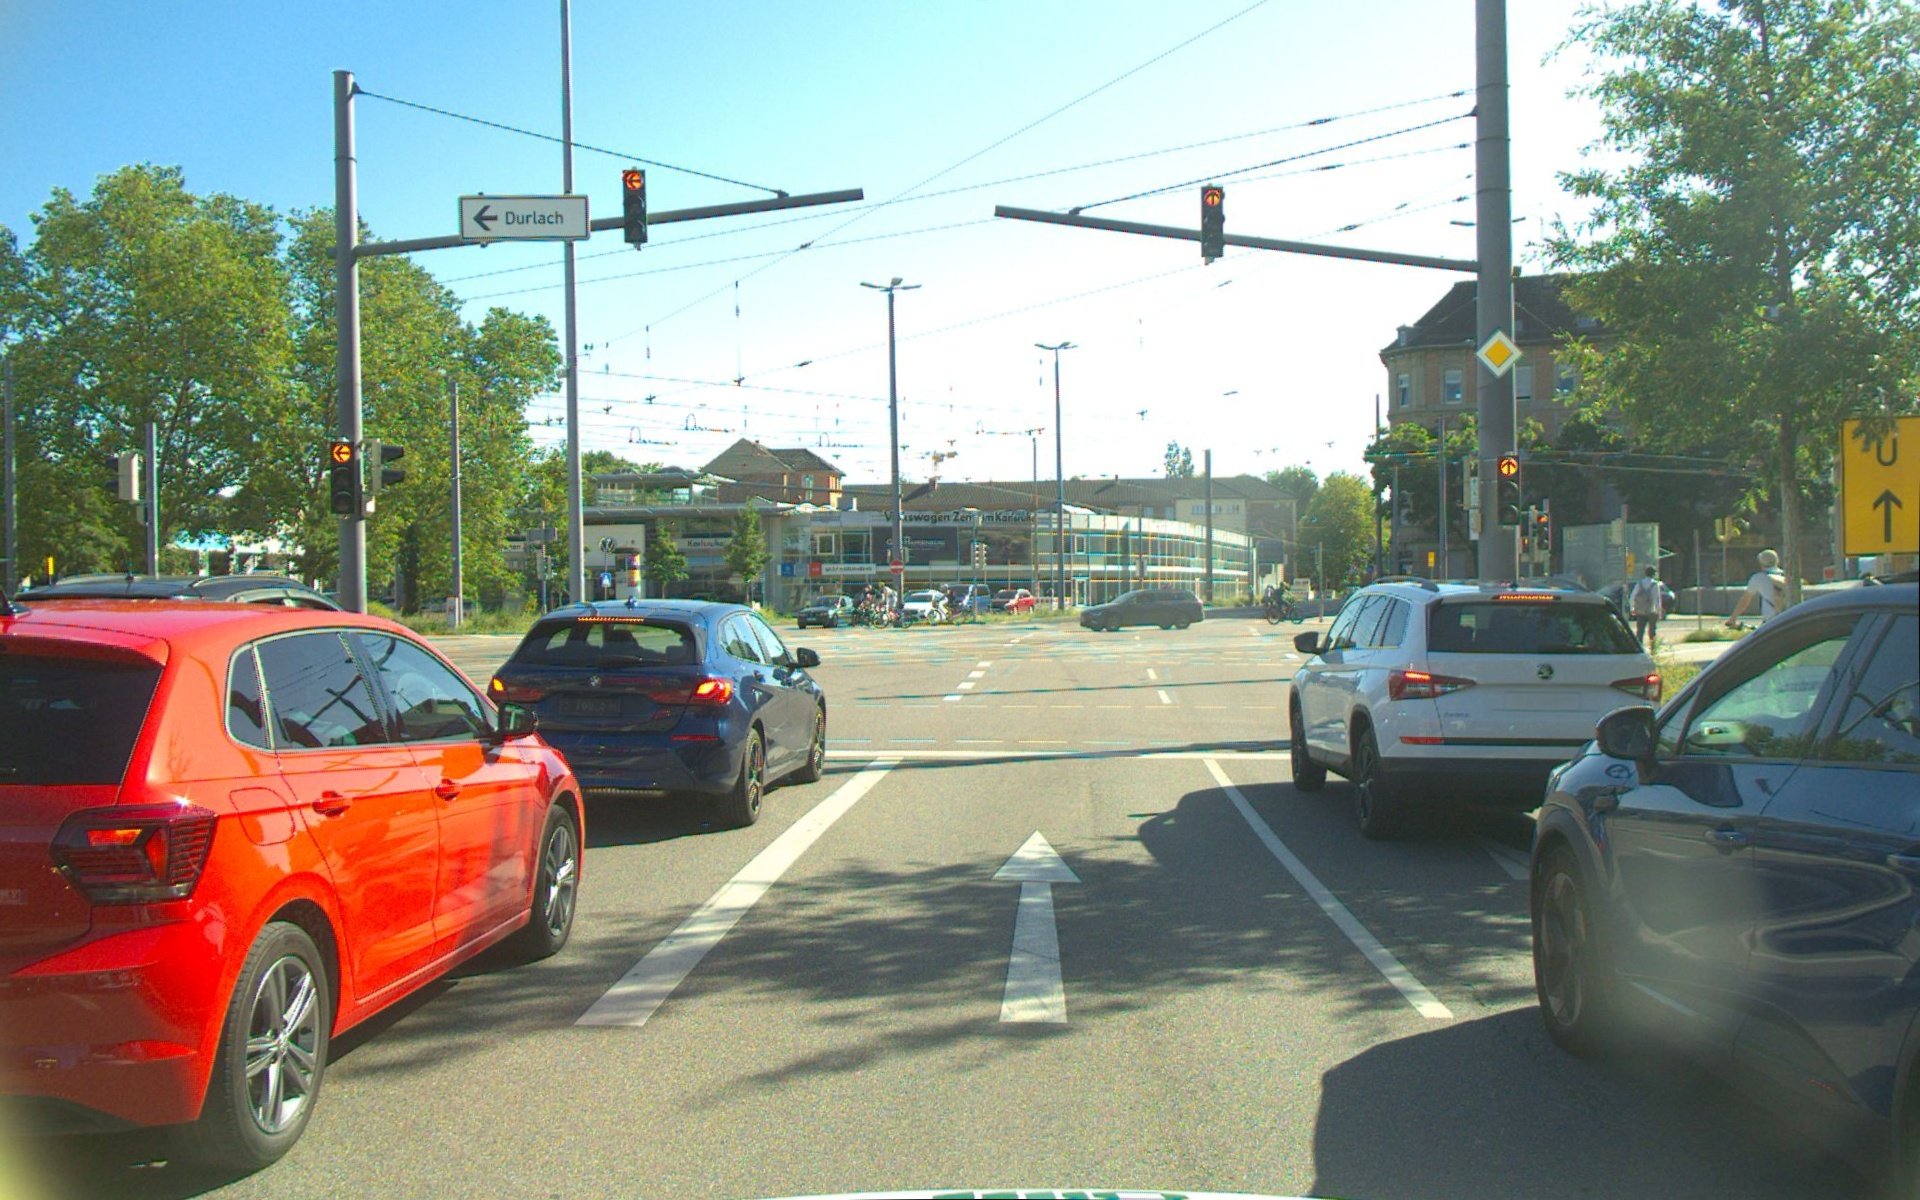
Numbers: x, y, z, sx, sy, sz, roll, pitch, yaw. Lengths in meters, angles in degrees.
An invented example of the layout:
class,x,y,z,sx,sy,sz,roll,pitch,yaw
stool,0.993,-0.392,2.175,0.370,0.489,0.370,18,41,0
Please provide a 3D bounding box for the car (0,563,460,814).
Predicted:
class,x,y,z,sx,sy,sz,roll,pitch,yaw
car,-5.238,0.516,11.897,1.688,1.467,3.913,1,0,6

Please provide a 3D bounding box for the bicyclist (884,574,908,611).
class,x,y,z,sx,sy,sz,roll,pitch,yaw
bicyclist,-2.585,-0.289,66.318,0.943,1.474,0.968,-1,0,-3

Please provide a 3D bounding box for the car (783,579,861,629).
class,x,y,z,sx,sy,sz,roll,pitch,yaw
car,-6.121,0.140,73.803,1.952,2.048,4.001,1,2,21

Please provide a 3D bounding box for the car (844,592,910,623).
class,x,y,z,sx,sy,sz,roll,pitch,yaw
car,-4.016,0.354,80.355,1.689,1.468,4.185,-1,0,20

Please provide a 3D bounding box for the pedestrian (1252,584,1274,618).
class,x,y,z,sx,sy,sz,roll,pitch,yaw
pedestrian,15.146,0.030,82.804,0.841,1.639,0.696,-1,2,-33

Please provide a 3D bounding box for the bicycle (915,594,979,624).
class,x,y,z,sx,sy,sz,roll,pitch,yaw
bicycle,-0.553,0.363,70.548,2.602,1.209,0.944,-1,2,-15

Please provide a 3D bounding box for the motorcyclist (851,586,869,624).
class,x,y,z,sx,sy,sz,roll,pitch,yaw
motorcyclist,-4.400,0.233,72.739,0.538,1.649,0.745,-1,0,17

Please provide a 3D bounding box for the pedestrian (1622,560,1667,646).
class,x,y,z,sx,sy,sz,roll,pitch,yaw
pedestrian,14.176,0.080,34.247,0.585,1.753,0.865,-2,-3,43

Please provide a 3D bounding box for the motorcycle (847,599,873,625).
class,x,y,z,sx,sy,sz,roll,pitch,yaw
motorcycle,-4.392,0.504,72.767,0.550,1.113,1.837,-1,0,17

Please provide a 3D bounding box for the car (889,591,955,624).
class,x,y,z,sx,sy,sz,roll,pitch,yaw
car,-1.767,0.330,77.774,1.689,1.468,4.185,-1,0,20

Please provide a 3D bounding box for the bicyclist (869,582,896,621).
class,x,y,z,sx,sy,sz,roll,pitch,yaw
bicyclist,-3.234,0.055,68.955,0.969,1.632,0.756,-1,0,-14

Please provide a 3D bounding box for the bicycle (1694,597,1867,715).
class,x,y,z,sx,sy,sz,roll,pitch,yaw
bicycle,8.895,0.577,18.026,0.732,1.185,1.866,-1,1,-9

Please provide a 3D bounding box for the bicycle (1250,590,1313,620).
class,x,y,z,sx,sy,sz,roll,pitch,yaw
bicycle,13.927,0.203,71.546,2.610,1.209,0.941,-1,2,-23

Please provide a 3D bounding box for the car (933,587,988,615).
class,x,y,z,sx,sy,sz,roll,pitch,yaw
car,0.033,0.068,91.907,1.689,1.467,4.185,1,0,20

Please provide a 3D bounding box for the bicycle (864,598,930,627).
class,x,y,z,sx,sy,sz,roll,pitch,yaw
bicycle,-2.532,0.505,66.327,2.590,1.114,0.968,-1,0,-3

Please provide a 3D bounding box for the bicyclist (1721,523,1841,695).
class,x,y,z,sx,sy,sz,roll,pitch,yaw
bicyclist,8.884,0.089,17.927,0.706,1.793,0.975,-1,0,-10

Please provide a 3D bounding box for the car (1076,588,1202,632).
class,x,y,z,sx,sy,sz,roll,pitch,yaw
car,6.564,0.365,60.774,4.291,1.467,1.722,1,0,-18

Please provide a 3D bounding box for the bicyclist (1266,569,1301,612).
class,x,y,z,sx,sy,sz,roll,pitch,yaw
bicyclist,13.973,-0.411,71.535,1.167,1.807,0.941,-1,2,-23

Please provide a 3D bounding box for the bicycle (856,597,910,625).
class,x,y,z,sx,sy,sz,roll,pitch,yaw
bicycle,-3.203,0.450,68.955,2.141,1.114,0.756,-1,0,-14

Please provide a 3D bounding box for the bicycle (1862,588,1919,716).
class,x,y,z,sx,sy,sz,roll,pitch,yaw
bicycle,9.378,0.489,15.466,0.702,1.185,1.867,-1,1,-7

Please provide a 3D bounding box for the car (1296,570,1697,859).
class,x,y,z,sx,sy,sz,roll,pitch,yaw
car,3.471,0.661,11.399,1.837,1.646,3.627,1,0,5

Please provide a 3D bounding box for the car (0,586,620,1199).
class,x,y,z,sx,sy,sz,roll,pitch,yaw
car,-2.440,0.706,5.504,1.637,1.467,3.723,1,0,3

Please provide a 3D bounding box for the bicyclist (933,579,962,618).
class,x,y,z,sx,sy,sz,roll,pitch,yaw
bicyclist,-0.541,-0.052,70.523,1.045,1.611,0.944,-1,2,-15

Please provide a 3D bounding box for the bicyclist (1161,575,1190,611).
class,x,y,z,sx,sy,sz,roll,pitch,yaw
bicyclist,9.990,-0.317,76.726,1.045,1.611,0.944,-1,2,-15

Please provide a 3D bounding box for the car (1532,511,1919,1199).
class,x,y,z,sx,sy,sz,roll,pitch,yaw
car,2.891,0.656,4.104,1.837,1.646,3.799,1,0,4

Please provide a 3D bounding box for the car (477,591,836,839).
class,x,y,z,sx,sy,sz,roll,pitch,yaw
car,-1.998,0.690,12.000,1.689,1.467,3.800,1,0,3

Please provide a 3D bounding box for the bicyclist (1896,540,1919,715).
class,x,y,z,sx,sy,sz,roll,pitch,yaw
bicyclist,9.385,0.253,15.401,0.706,1.645,0.976,-1,0,-7

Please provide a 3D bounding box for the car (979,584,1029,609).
class,x,y,z,sx,sy,sz,roll,pitch,yaw
car,2.659,-0.203,98.792,1.689,1.467,4.185,1,0,20
